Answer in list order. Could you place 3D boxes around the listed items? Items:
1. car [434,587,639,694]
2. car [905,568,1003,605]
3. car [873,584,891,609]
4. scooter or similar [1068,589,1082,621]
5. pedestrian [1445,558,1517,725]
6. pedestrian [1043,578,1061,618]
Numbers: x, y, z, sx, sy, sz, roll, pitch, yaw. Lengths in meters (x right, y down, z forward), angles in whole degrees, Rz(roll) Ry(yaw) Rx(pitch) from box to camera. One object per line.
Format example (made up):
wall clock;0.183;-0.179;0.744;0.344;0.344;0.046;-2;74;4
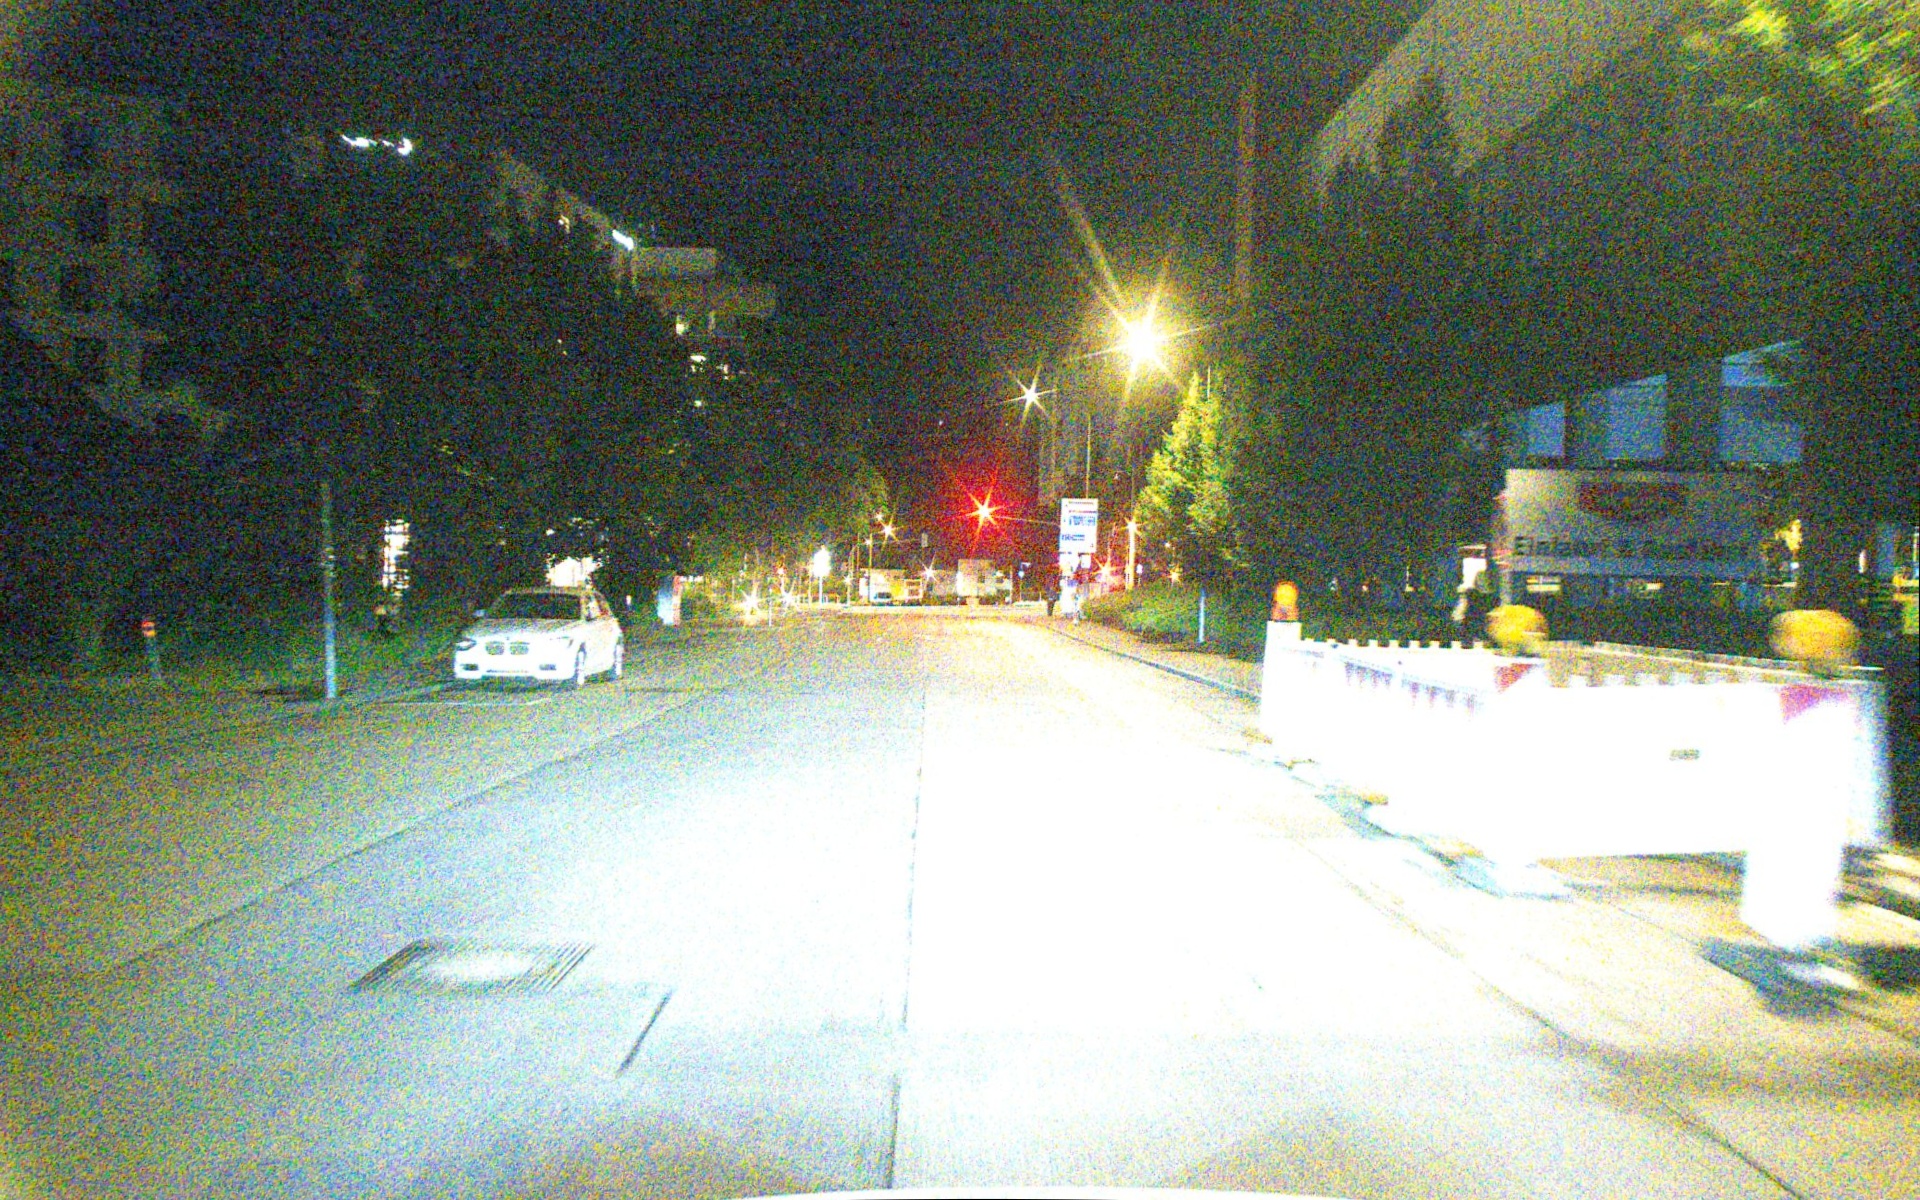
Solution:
car;-6.097;0.520;24.333;1.872;1.428;4.338;0;0;0
car;-0.803;-1.796;219.764;12.176;4.792;4.791;1;0;-15
car;-9.725;-0.418;206.446;1.955;3.026;3.995;1;0;-6
scooter or similar;4.823;0.206;69.478;0.484;1.284;1.320;-1;0;1
pedestrian;6.038;0.467;19.205;0.558;1.885;0.820;1;0;0
pedestrian;4.707;-0.100;84.725;0.725;2.016;0.623;1;0;-17
